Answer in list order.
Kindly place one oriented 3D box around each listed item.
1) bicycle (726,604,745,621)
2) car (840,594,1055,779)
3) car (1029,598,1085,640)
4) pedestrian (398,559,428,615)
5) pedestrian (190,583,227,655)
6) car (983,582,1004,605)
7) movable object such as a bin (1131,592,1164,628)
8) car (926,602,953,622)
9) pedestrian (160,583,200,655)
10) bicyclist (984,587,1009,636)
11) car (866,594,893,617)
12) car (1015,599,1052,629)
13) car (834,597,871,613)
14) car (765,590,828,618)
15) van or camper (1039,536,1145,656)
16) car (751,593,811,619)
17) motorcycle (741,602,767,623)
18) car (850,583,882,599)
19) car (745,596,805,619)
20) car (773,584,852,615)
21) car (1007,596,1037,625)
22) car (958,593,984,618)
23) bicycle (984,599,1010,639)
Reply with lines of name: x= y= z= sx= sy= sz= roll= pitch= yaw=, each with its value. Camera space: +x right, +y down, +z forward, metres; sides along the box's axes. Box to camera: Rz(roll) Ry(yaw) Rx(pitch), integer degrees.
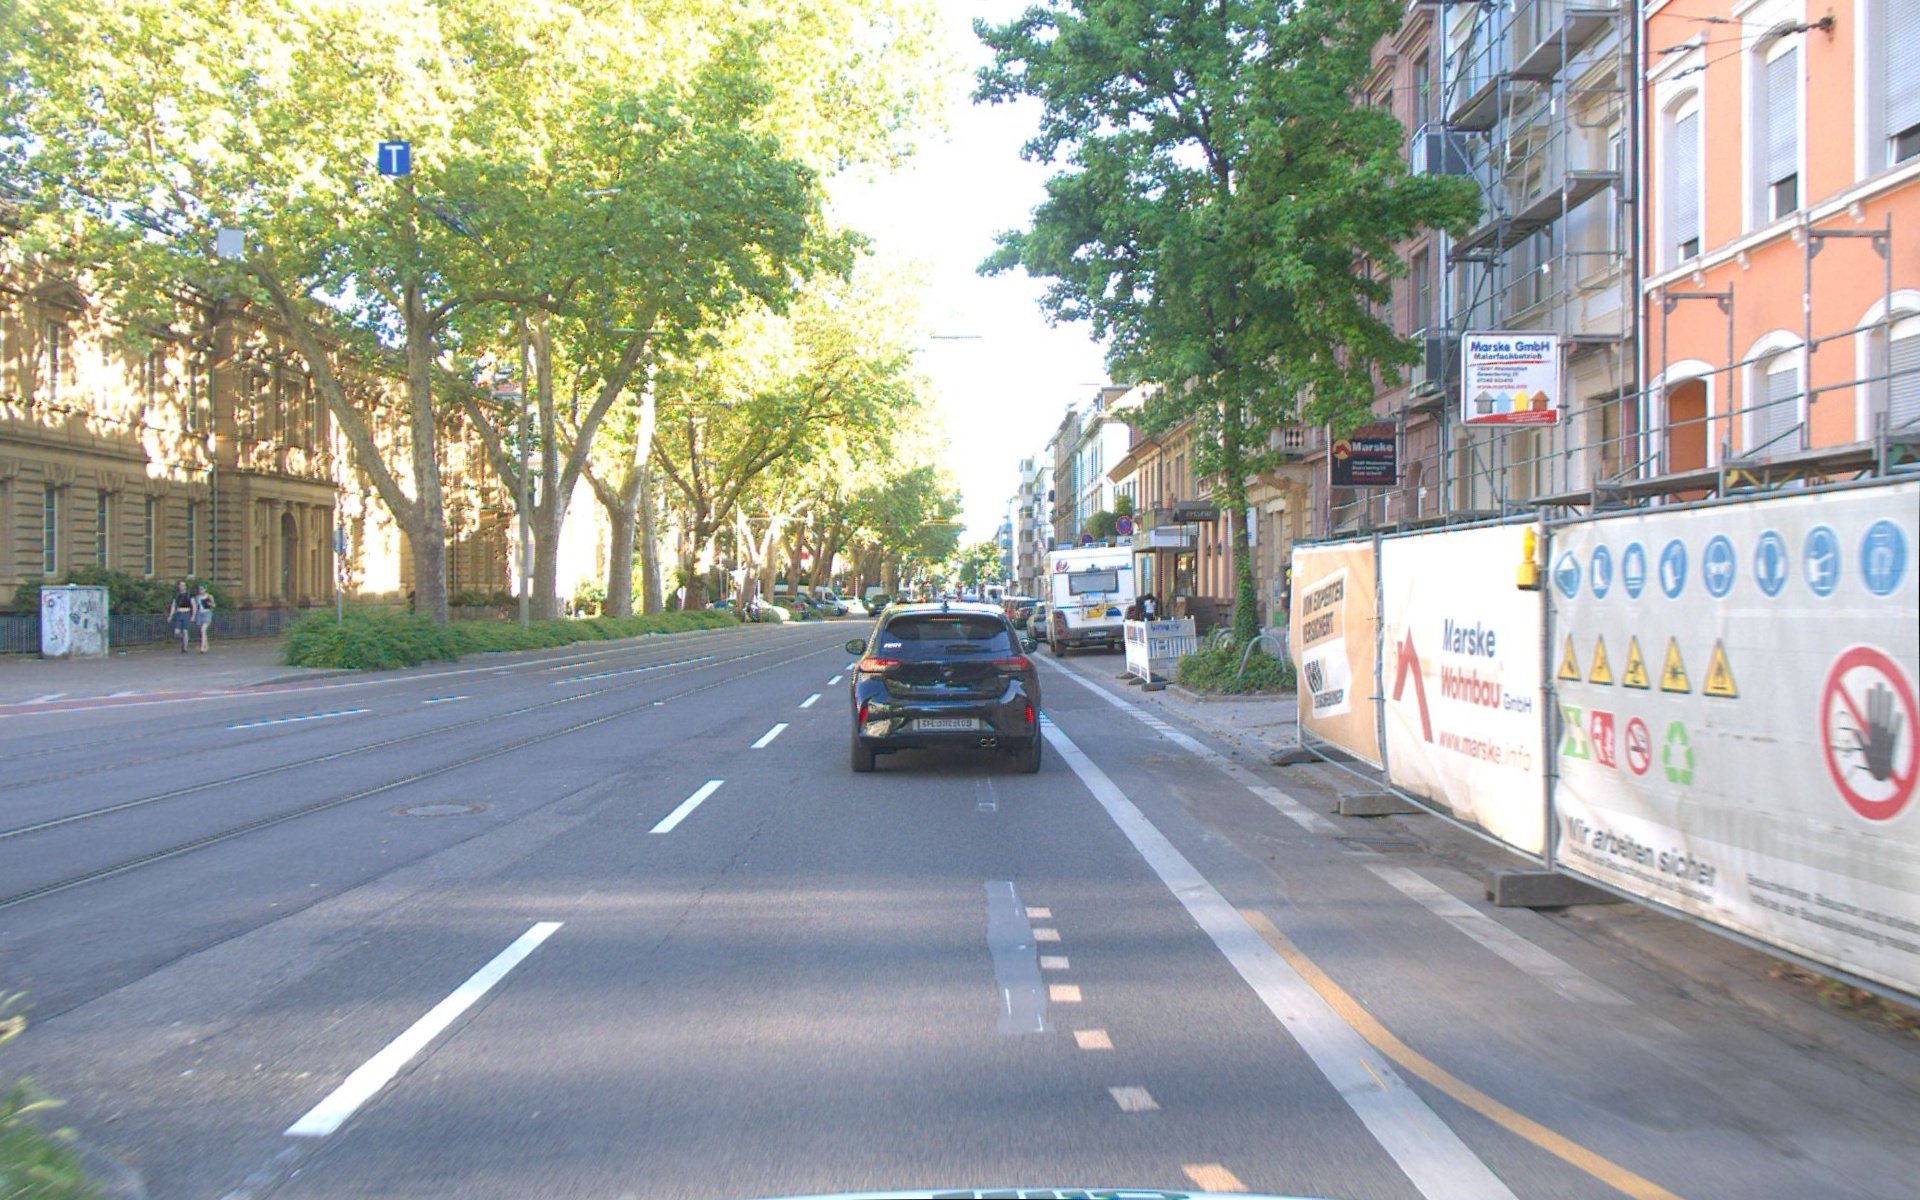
bicycle: x=-12.639 y=0.708 z=93.232 sx=0.529 sy=0.957 sz=2.035 roll=1 pitch=0 yaw=8
car: x=-0.104 y=0.708 z=15.409 sx=1.757 sy=1.466 sz=3.531 roll=1 pitch=1 yaw=0
car: x=3.537 y=0.691 z=61.049 sx=1.772 sy=1.460 sz=4.664 roll=-1 pitch=0 yaw=0
pedestrian: x=-18.468 y=-0.445 z=55.880 sx=0.704 sy=1.882 sz=0.837 roll=1 pitch=0 yaw=0
pedestrian: x=-18.227 y=0.459 z=40.134 sx=0.622 sy=1.727 sz=0.655 roll=1 pitch=0 yaw=-7
car: x=3.473 y=-0.662 z=170.027 sx=2.033 sy=2.257 sz=4.934 roll=-3 pitch=0 yaw=1
movable object such as a bin: x=8.098 y=0.418 z=71.624 sx=1.267 sy=1.547 sz=1.286 roll=1 pitch=0 yaw=0
car: x=-1.409 y=0.802 z=112.535 sx=1.773 sy=1.362 sz=3.931 roll=0 pitch=0 yaw=-2
pedestrian: x=-18.881 y=0.450 z=40.041 sx=0.658 sy=1.727 sz=0.661 roll=1 pitch=0 yaw=-7
bicyclist: x=1.325 y=0.416 z=60.415 sx=0.831 sy=1.770 sz=1.161 roll=1 pitch=0 yaw=-1
car: x=-6.205 y=0.407 z=127.528 sx=1.828 sy=1.658 sz=4.560 roll=0 pitch=1 yaw=0
car: x=3.548 y=0.662 z=80.001 sx=1.659 sy=1.417 sz=4.495 roll=-1 pitch=0 yaw=1
car: x=-11.235 y=0.492 z=173.012 sx=3.841 sy=1.524 sz=1.676 roll=2 pitch=0 yaw=-3
car: x=-12.572 y=0.315 z=127.205 sx=4.578 sy=1.957 sz=1.980 roll=2 pitch=0 yaw=1
van or camper: x=3.637 y=-0.109 z=47.282 sx=2.426 sy=3.023 sz=7.885 roll=-3 pitch=0 yaw=1
car: x=-12.470 y=0.441 z=115.248 sx=3.913 sy=1.655 sz=1.879 roll=2 pitch=0 yaw=0
motorcycle: x=-11.571 y=0.691 z=93.163 sx=0.865 sy=1.167 sz=2.392 roll=1 pitch=0 yaw=8
car: x=-11.568 y=-1.070 z=203.687 sx=3.841 sy=1.821 sz=1.676 roll=2 pitch=0 yaw=-3
car: x=-12.662 y=0.504 z=113.107 sx=3.839 sy=1.467 sz=1.749 roll=2 pitch=0 yaw=0
car: x=-12.666 y=-0.052 z=142.178 sx=6.492 sy=2.451 sz=2.458 roll=2 pitch=0 yaw=0
car: x=3.429 y=0.560 z=92.100 sx=1.601 sy=1.574 sz=3.576 roll=-1 pitch=0 yaw=1
car: x=0.801 y=0.364 z=120.032 sx=1.772 sy=1.773 sz=3.933 roll=0 pitch=0 yaw=1
bicycle: x=1.328 y=0.670 z=60.345 sx=0.843 sy=1.431 sz=2.523 roll=1 pitch=0 yaw=-1
